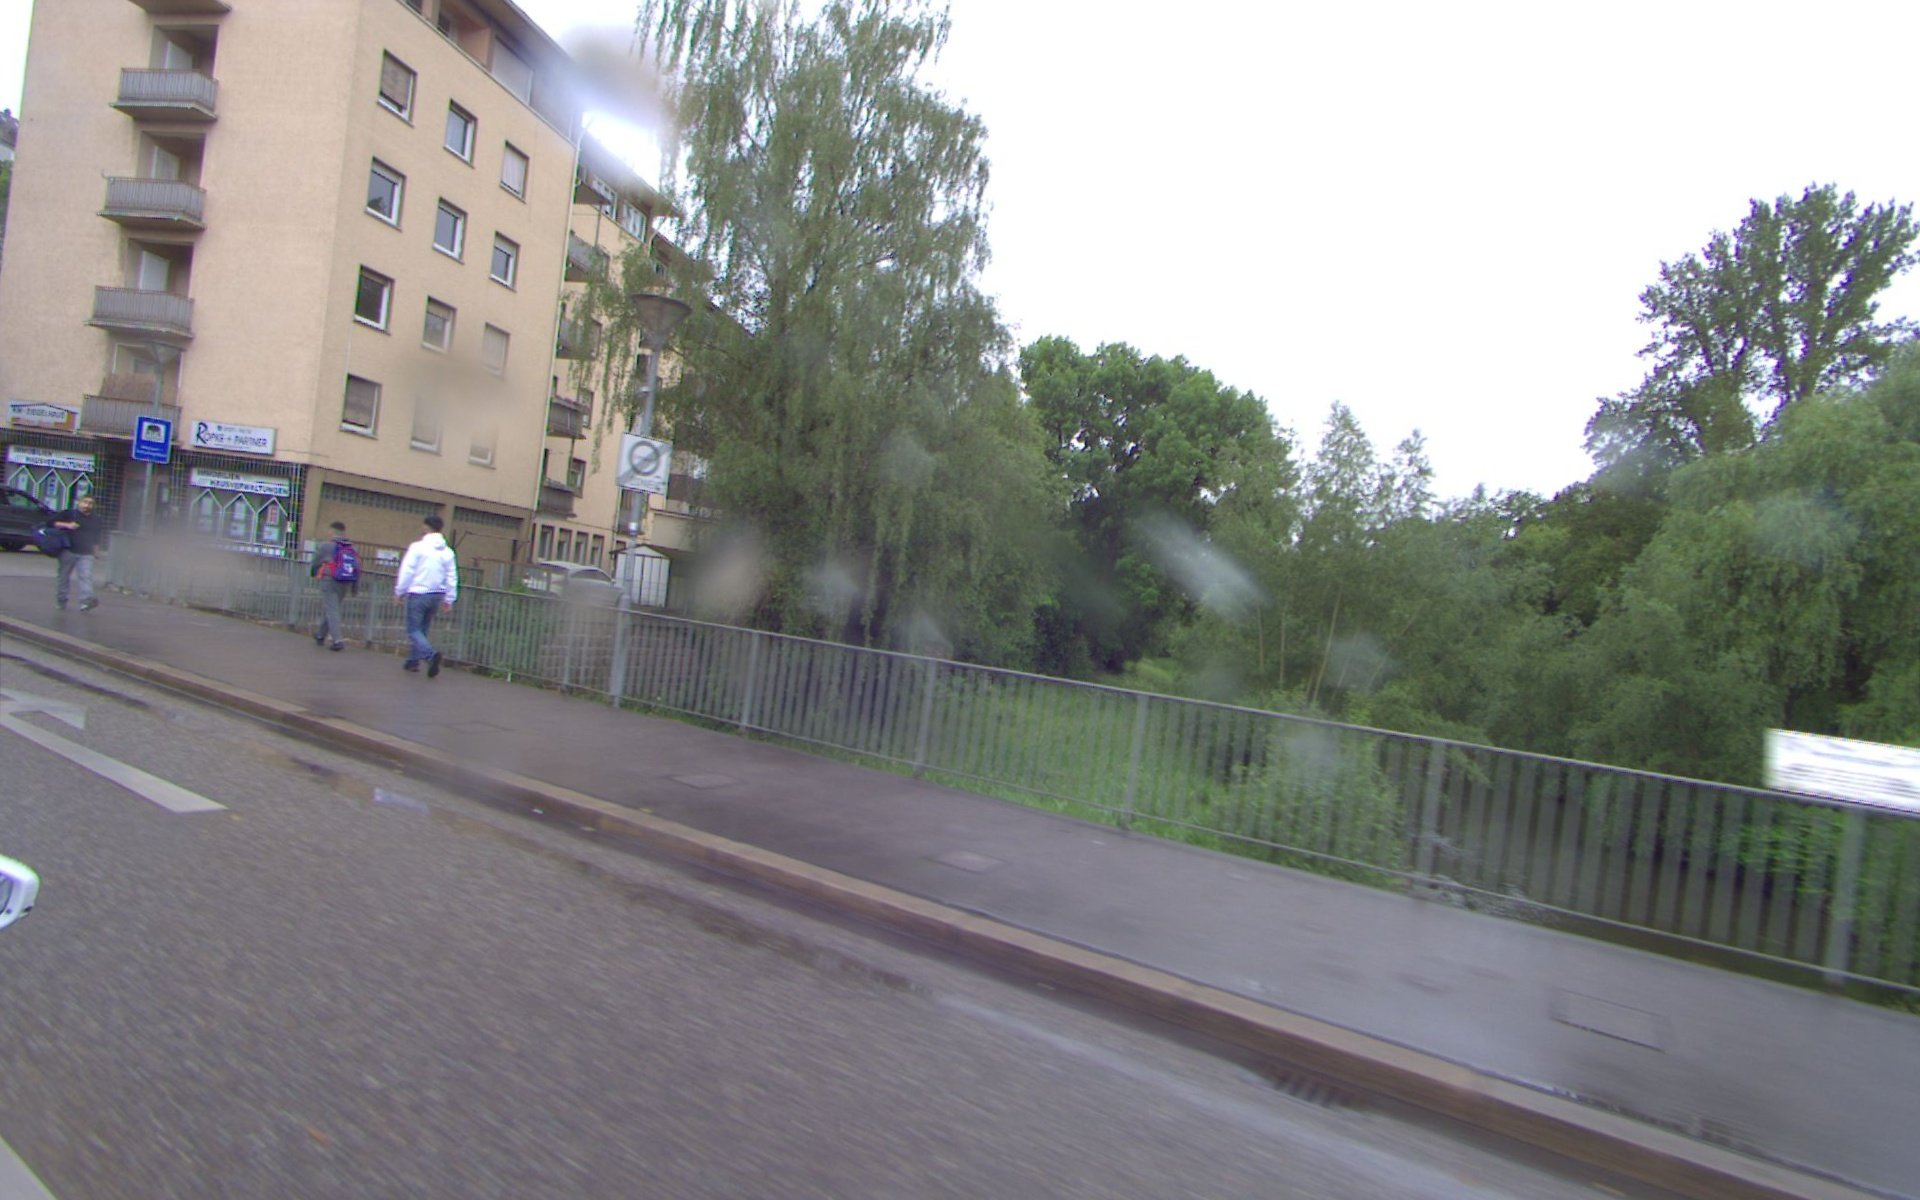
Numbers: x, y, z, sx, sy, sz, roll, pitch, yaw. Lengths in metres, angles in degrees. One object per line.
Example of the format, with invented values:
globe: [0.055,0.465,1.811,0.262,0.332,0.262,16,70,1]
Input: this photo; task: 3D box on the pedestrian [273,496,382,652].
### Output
pedestrian: [-7.959,-0.315,12.662,0.768,1.832,0.761,7,2,31]

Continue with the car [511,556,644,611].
car: [-12.795,-0.489,33.954,1.782,1.393,4.455,8,0,15]

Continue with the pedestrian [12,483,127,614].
pedestrian: [-11.987,-0.682,13.548,0.825,1.640,0.863,7,1,31]

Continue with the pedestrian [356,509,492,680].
pedestrian: [-6.018,-0.055,11.302,1.043,1.774,0.780,7,1,31]

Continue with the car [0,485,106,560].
car: [-23.895,-2.010,24.625,1.847,1.670,4.381,6,0,6]
